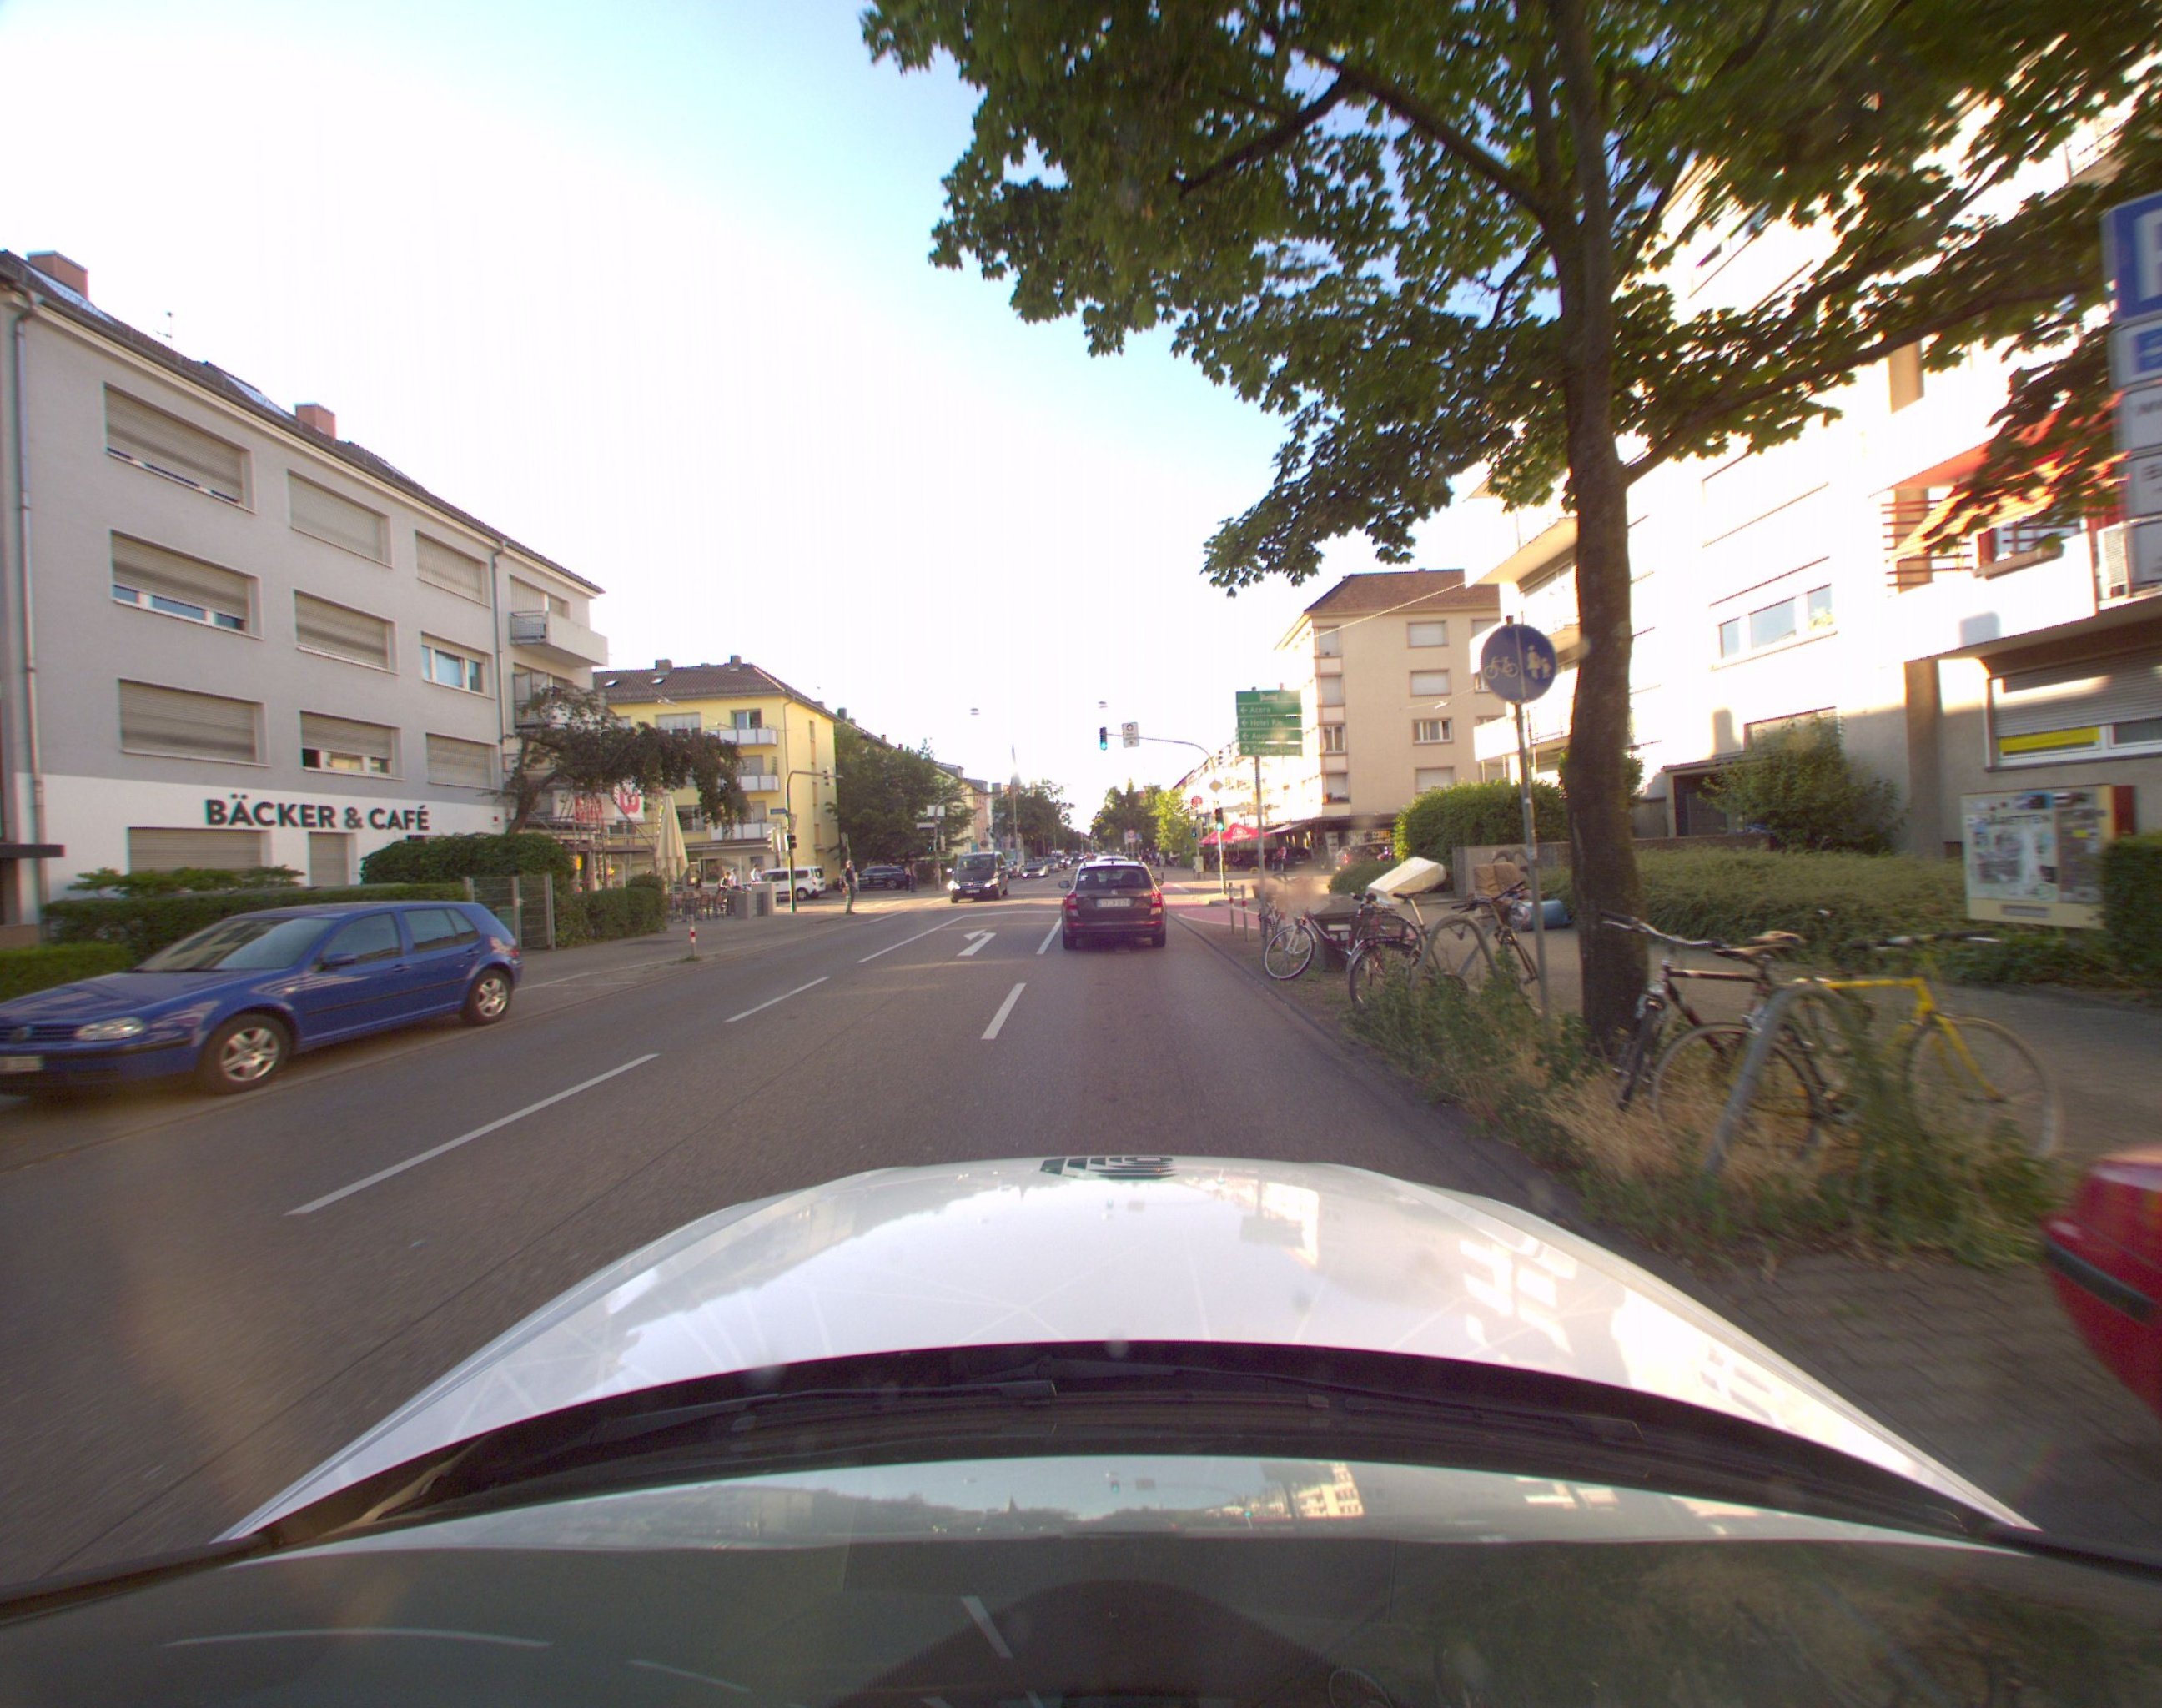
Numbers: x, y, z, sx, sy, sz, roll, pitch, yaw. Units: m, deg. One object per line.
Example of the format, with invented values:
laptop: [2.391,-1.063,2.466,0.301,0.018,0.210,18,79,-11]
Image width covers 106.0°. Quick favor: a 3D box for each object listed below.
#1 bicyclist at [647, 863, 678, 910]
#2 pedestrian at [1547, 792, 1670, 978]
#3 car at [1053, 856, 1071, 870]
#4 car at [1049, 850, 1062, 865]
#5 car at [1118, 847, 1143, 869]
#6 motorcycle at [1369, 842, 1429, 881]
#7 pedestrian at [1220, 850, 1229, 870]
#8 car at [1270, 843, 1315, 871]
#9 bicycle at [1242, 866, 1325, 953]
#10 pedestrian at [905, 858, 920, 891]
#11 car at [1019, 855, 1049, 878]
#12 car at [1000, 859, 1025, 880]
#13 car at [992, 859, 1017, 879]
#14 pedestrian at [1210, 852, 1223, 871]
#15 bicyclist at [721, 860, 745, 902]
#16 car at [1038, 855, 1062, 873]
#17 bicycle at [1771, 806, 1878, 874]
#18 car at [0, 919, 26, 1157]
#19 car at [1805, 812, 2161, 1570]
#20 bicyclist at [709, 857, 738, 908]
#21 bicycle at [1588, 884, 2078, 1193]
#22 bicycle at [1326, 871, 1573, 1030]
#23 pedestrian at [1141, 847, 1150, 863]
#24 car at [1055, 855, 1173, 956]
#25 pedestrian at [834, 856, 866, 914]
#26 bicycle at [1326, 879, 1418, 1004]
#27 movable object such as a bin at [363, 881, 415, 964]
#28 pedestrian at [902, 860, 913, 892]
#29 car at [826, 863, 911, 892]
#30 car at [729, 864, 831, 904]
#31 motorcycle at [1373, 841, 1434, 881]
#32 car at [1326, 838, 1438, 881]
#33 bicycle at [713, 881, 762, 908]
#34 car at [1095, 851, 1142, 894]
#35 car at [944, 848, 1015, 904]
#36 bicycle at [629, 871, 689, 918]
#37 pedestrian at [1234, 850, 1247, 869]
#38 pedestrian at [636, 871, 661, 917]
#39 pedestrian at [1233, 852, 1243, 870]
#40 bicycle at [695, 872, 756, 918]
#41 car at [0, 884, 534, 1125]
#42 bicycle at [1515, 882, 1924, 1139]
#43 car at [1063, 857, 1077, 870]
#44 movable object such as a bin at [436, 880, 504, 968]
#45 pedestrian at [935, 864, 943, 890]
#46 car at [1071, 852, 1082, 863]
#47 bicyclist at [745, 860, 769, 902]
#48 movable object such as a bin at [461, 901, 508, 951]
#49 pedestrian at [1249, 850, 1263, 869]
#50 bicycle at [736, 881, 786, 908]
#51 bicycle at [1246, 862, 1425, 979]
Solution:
bicyclist: [-16.667,1.274,32.457,0.783,1.799,0.709,-3,0,-1]
pedestrian: [5.307,0.303,8.247,0.659,1.749,0.774,-5,-1,7]
car: [-2.111,0.989,93.263,1.781,1.571,4.002,-1,0,2]
car: [-4.410,0.665,142.125,1.986,2.478,4.001,-3,0,1]
car: [4.268,0.324,69.674,1.985,1.772,4.004,-1,0,4]
motorcycle: [11.926,0.278,30.598,1.904,1.361,0.695,-3,0,5]
pedestrian: [9.743,0.413,55.293,0.498,1.302,0.506,-3,0,-2]
car: [12.729,0.173,49.309,1.769,1.486,4.002,-3,0,2]
bicycle: [2.950,0.771,12.063,0.501,1.147,1.956,-5,-1,-4]
pedestrian: [-9.628,1.160,46.517,0.613,1.797,0.504,-3,0,1]
car: [-3.564,0.943,62.324,1.824,1.579,4.001,-3,0,1]
car: [-5.948,1.327,71.118,1.554,1.618,4.002,-3,0,2]
car: [-6.097,1.194,65.518,1.517,1.457,3.586,-3,0,1]
pedestrian: [9.059,0.492,54.411,0.675,1.198,0.856,-3,0,2]
bicyclist: [-15.747,1.209,36.873,0.738,1.823,0.652,-3,0,-8]
car: [-3.018,0.976,80.181,1.986,1.610,4.002,-3,0,2]
bicycle: [13.913,-0.246,15.298,0.354,1.183,1.797,-3,0,2]
car: [-7.578,1.159,3.303,1.588,1.470,3.804,-1,0,1]
car: [2.829,0.618,0.261,1.696,1.450,4.017,-5,0,3]
bicyclist: [-14.390,1.142,32.801,0.723,2.013,0.843,-3,0,-2]
bicycle: [3.008,0.720,3.329,1.564,1.104,0.392,-3,0,2]
bicycle: [2.963,0.775,6.665,1.677,1.107,0.518,-5,-1,7]
pedestrian: [7.267,0.118,91.444,0.668,1.704,0.806,-3,0,27]
car: [0.534,0.791,14.671,1.767,1.489,4.311,-2,0,1]
pedestrian: [-8.155,1.080,28.740,0.777,1.987,0.821,-3,0,2]
bicycle: [2.957,0.820,8.180,0.613,1.051,1.583,-3,0,27]
movable object such as a bin: [-12.460,1.227,14.677,0.390,1.427,0.575,-3,0,0]
pedestrian: [-9.993,1.250,46.897,0.448,1.797,0.504,-3,0,2]
car: [-12.859,1.426,49.552,4.618,1.535,1.862,-2,0,0]
car: [-16.027,1.598,43.542,4.618,1.811,1.862,-3,0,0]
motorcycle: [11.755,0.249,29.708,1.904,1.361,0.695,-3,0,5]
car: [12.572,0.226,34.176,3.973,1.552,1.806,-3,0,1]
bicycle: [-15.554,1.817,36.893,1.899,1.071,0.717,-3,-1,-9]
car: [1.458,0.697,32.313,1.730,1.571,4.002,-1,0,2]
car: [-3.932,0.805,32.435,1.987,1.908,4.964,-5,0,1]
bicycle: [-16.801,1.607,32.456,1.914,1.706,0.756,-3,0,-2]
pedestrian: [10.675,0.360,54.497,0.726,1.198,0.856,-3,0,2]
pedestrian: [-16.491,1.519,31.048,0.578,1.675,0.641,-3,0,-8]
pedestrian: [10.703,0.467,55.502,0.503,1.176,0.428,-3,0,1]
bicycle: [-14.287,1.633,32.751,2.017,1.706,0.756,-3,0,-2]
car: [-7.473,1.146,7.768,1.642,1.517,4.075,-2,0,1]
bicycle: [3.096,0.739,4.034,1.564,1.104,0.501,-3,0,2]
car: [-1.459,1.232,109.171,1.697,1.550,4.003,-3,0,2]
movable object such as a bin: [-11.076,1.251,14.791,0.590,1.512,0.741,-3,0,3]
pedestrian: [-8.320,1.325,47.727,0.299,1.504,0.641,-3,0,2]
car: [-0.841,0.700,155.192,1.986,2.013,4.001,-3,0,1]
bicyclist: [-14.424,1.183,36.270,0.738,1.823,0.652,-3,0,-8]
movable object such as a bin: [-12.229,1.471,16.698,0.602,0.968,0.439,-3,0,1]
pedestrian: [11.772,0.372,54.749,0.726,1.198,0.856,-3,0,2]
bicycle: [-14.253,1.795,36.307,1.899,1.071,0.717,-3,-1,-9]
bicycle: [2.939,0.763,9.551,1.824,1.157,0.684,-5,-1,7]
